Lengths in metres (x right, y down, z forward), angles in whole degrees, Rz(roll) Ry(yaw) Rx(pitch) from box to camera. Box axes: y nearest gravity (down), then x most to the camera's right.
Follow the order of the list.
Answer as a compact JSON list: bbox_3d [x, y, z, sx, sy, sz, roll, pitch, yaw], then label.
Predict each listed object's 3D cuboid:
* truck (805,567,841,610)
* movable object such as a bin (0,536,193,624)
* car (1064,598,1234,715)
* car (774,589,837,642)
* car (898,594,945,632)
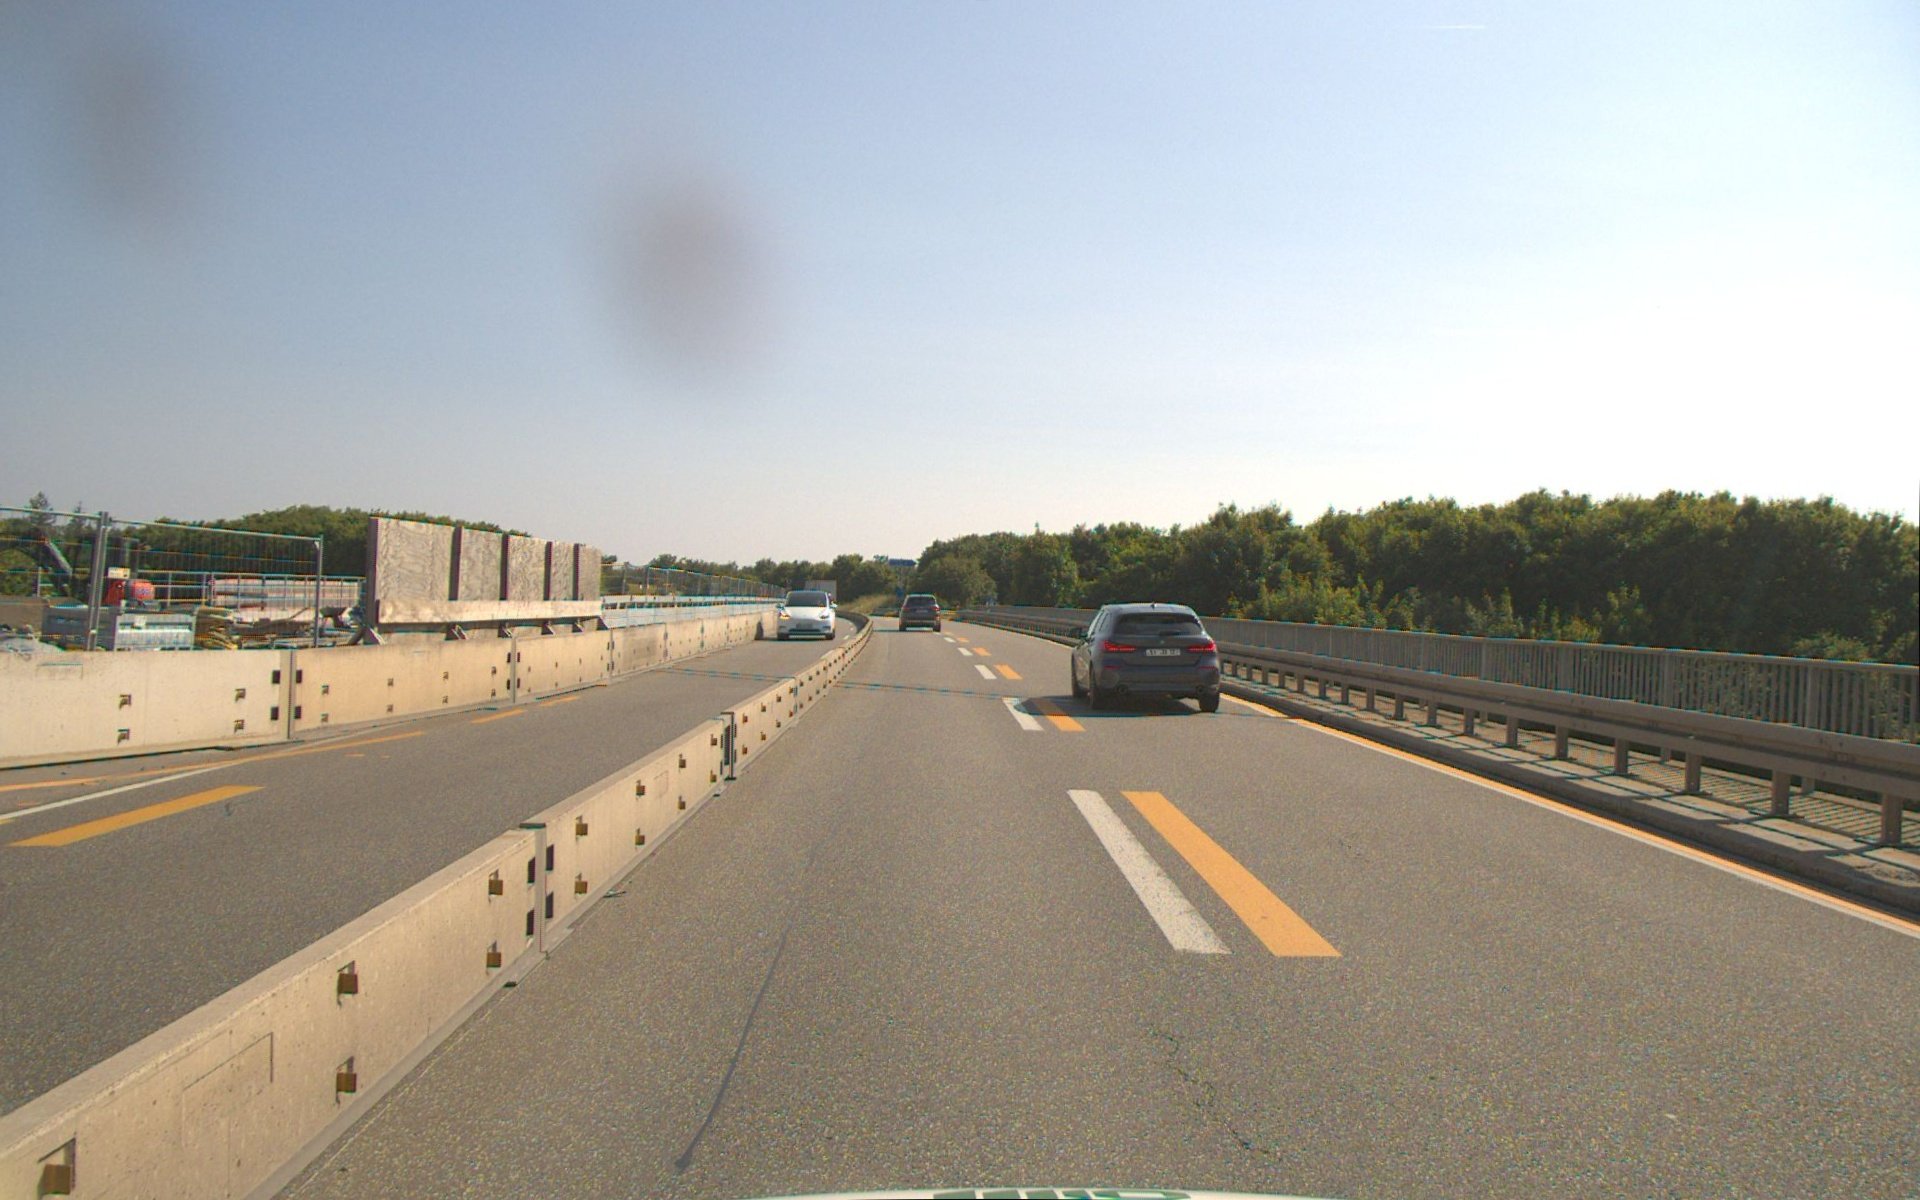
[{"bbox_3d":[-16.814,-1.397,201.571,3.690,4.997,14.114,2,0,-7],"label":"truck"},{"bbox_3d":[-22.689,-0.530,42.469,5.279,2.153,2.239,1,0,18],"label":"movable object such as a bin"},{"bbox_3d":[2.611,0.743,23.749,1.881,1.520,3.999,0,0,-2],"label":"car"},{"bbox_3d":[-5.280,0.502,57.010,1.942,1.680,4.546,2,0,-3],"label":"car"},{"bbox_3d":[-1.679,0.547,73.263,1.953,1.594,4.000,1,0,0],"label":"car"}]
